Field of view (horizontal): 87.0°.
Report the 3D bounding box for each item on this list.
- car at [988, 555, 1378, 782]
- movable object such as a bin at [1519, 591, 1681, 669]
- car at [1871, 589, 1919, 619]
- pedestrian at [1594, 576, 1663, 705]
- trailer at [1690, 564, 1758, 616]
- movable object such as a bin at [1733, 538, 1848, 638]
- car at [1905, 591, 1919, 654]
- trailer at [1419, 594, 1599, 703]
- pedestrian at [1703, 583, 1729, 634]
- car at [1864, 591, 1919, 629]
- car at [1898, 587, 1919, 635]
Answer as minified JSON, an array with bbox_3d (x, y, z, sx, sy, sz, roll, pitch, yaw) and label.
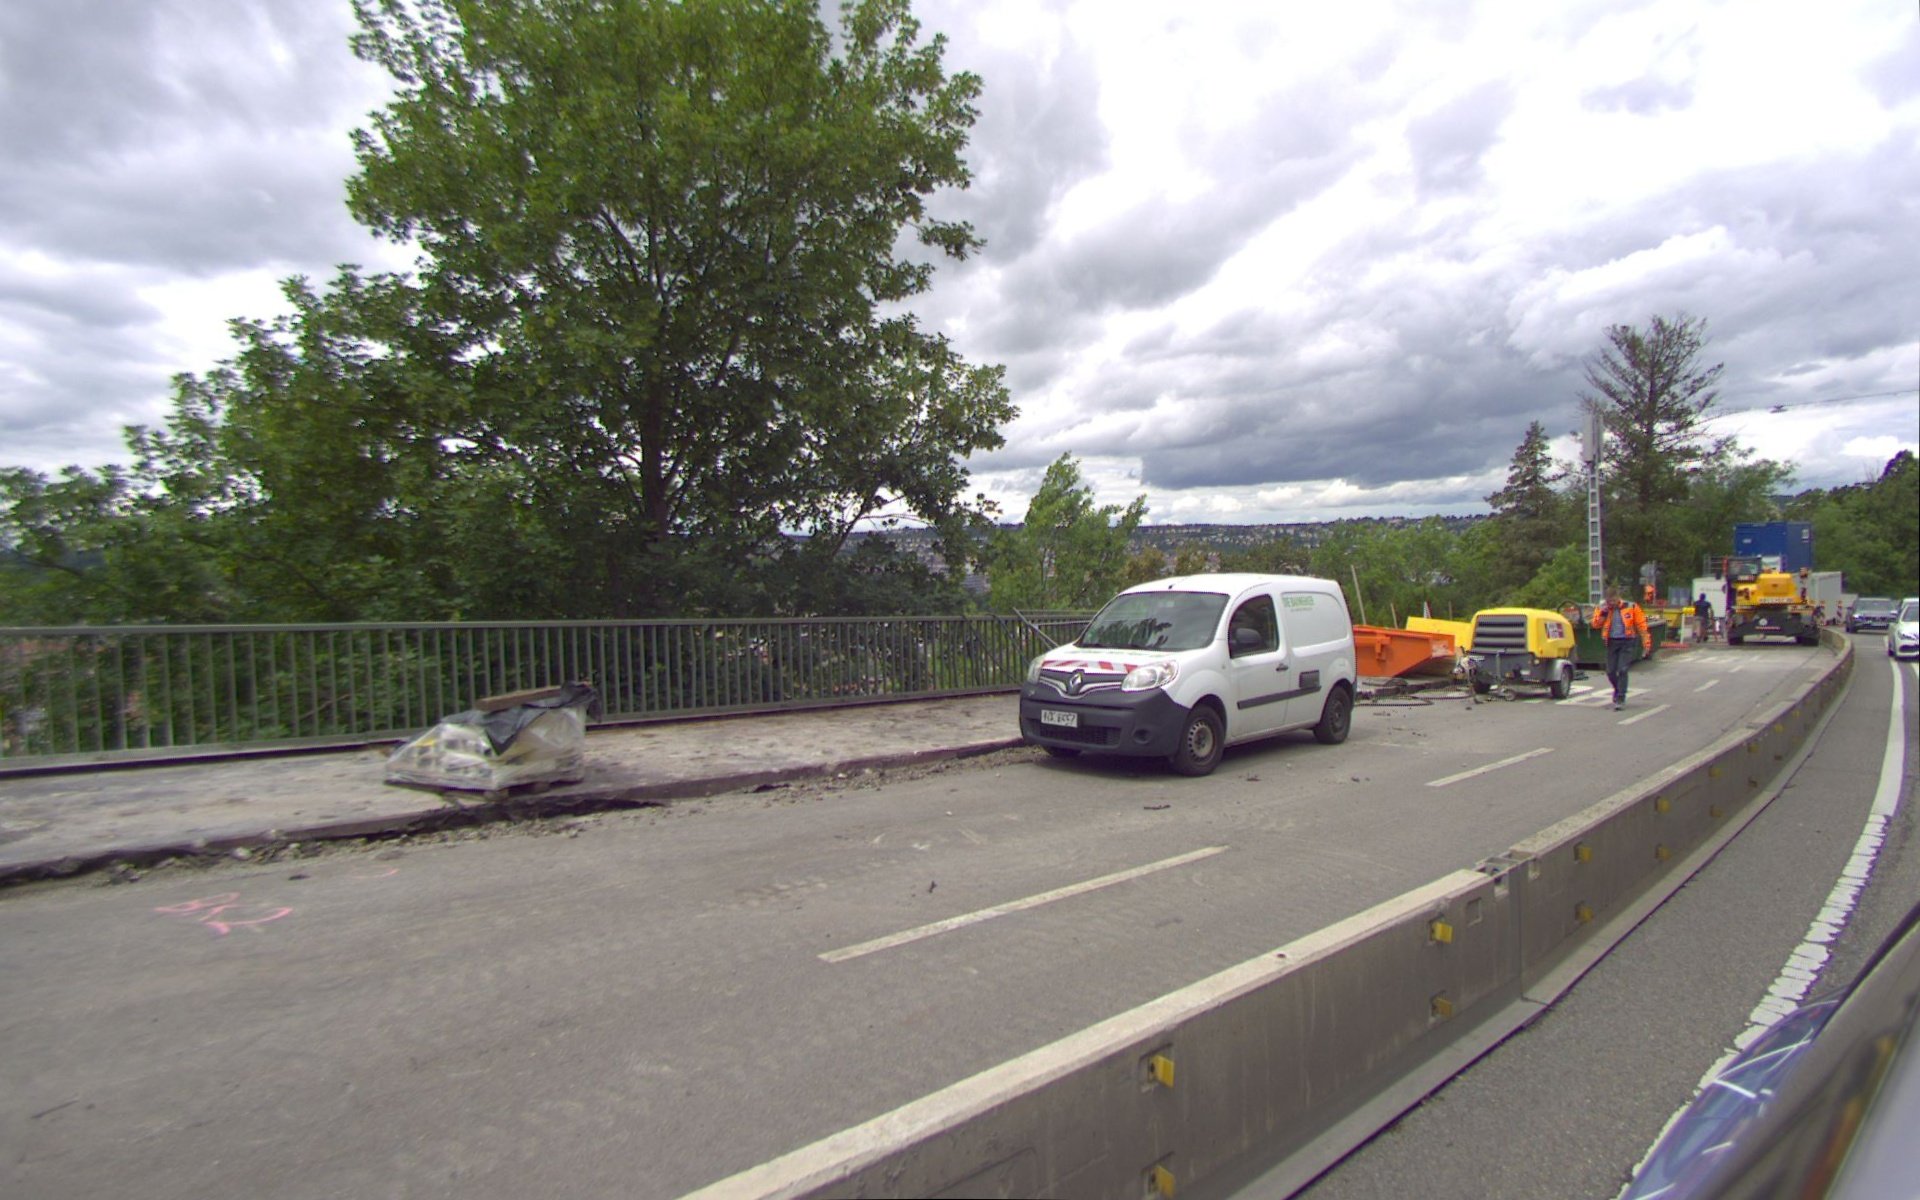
[{"bbox_3d":[2.393,0.542,10.181,4.197,1.802,1.834,0,0,-44],"label":"car"},{"bbox_3d":[15.401,0.598,24.112,2.371,1.581,6.996,-1,0,40],"label":"movable object such as a bin"},{"bbox_3d":[51.649,0.195,55.795,3.934,1.528,1.796,-1,3,-44],"label":"car"},{"bbox_3d":[9.272,0.545,14.039,0.645,1.723,0.837,-2,-2,42],"label":"pedestrian"},{"bbox_3d":[40.335,-0.515,53.371,5.035,2.581,2.108,0,2,-45],"label":"trailer"},{"bbox_3d":[28.942,-0.365,35.521,2.805,3.110,7.716,-1,0,38],"label":"movable object such as a bin"},{"bbox_3d":[24.786,0.518,25.189,1.787,1.499,4.178,-1,0,44],"label":"car"},{"bbox_3d":[8.456,0.658,15.476,3.571,1.494,1.290,0,0,-42],"label":"trailer"},{"bbox_3d":[27.540,0.299,36.879,0.685,1.818,0.534,0,-1,30],"label":"pedestrian"},{"bbox_3d":[42.077,0.429,45.610,1.795,1.528,3.936,4,3,44],"label":"car"},{"bbox_3d":[33.294,0.381,34.586,1.787,1.570,4.178,1,1,43],"label":"car"}]
